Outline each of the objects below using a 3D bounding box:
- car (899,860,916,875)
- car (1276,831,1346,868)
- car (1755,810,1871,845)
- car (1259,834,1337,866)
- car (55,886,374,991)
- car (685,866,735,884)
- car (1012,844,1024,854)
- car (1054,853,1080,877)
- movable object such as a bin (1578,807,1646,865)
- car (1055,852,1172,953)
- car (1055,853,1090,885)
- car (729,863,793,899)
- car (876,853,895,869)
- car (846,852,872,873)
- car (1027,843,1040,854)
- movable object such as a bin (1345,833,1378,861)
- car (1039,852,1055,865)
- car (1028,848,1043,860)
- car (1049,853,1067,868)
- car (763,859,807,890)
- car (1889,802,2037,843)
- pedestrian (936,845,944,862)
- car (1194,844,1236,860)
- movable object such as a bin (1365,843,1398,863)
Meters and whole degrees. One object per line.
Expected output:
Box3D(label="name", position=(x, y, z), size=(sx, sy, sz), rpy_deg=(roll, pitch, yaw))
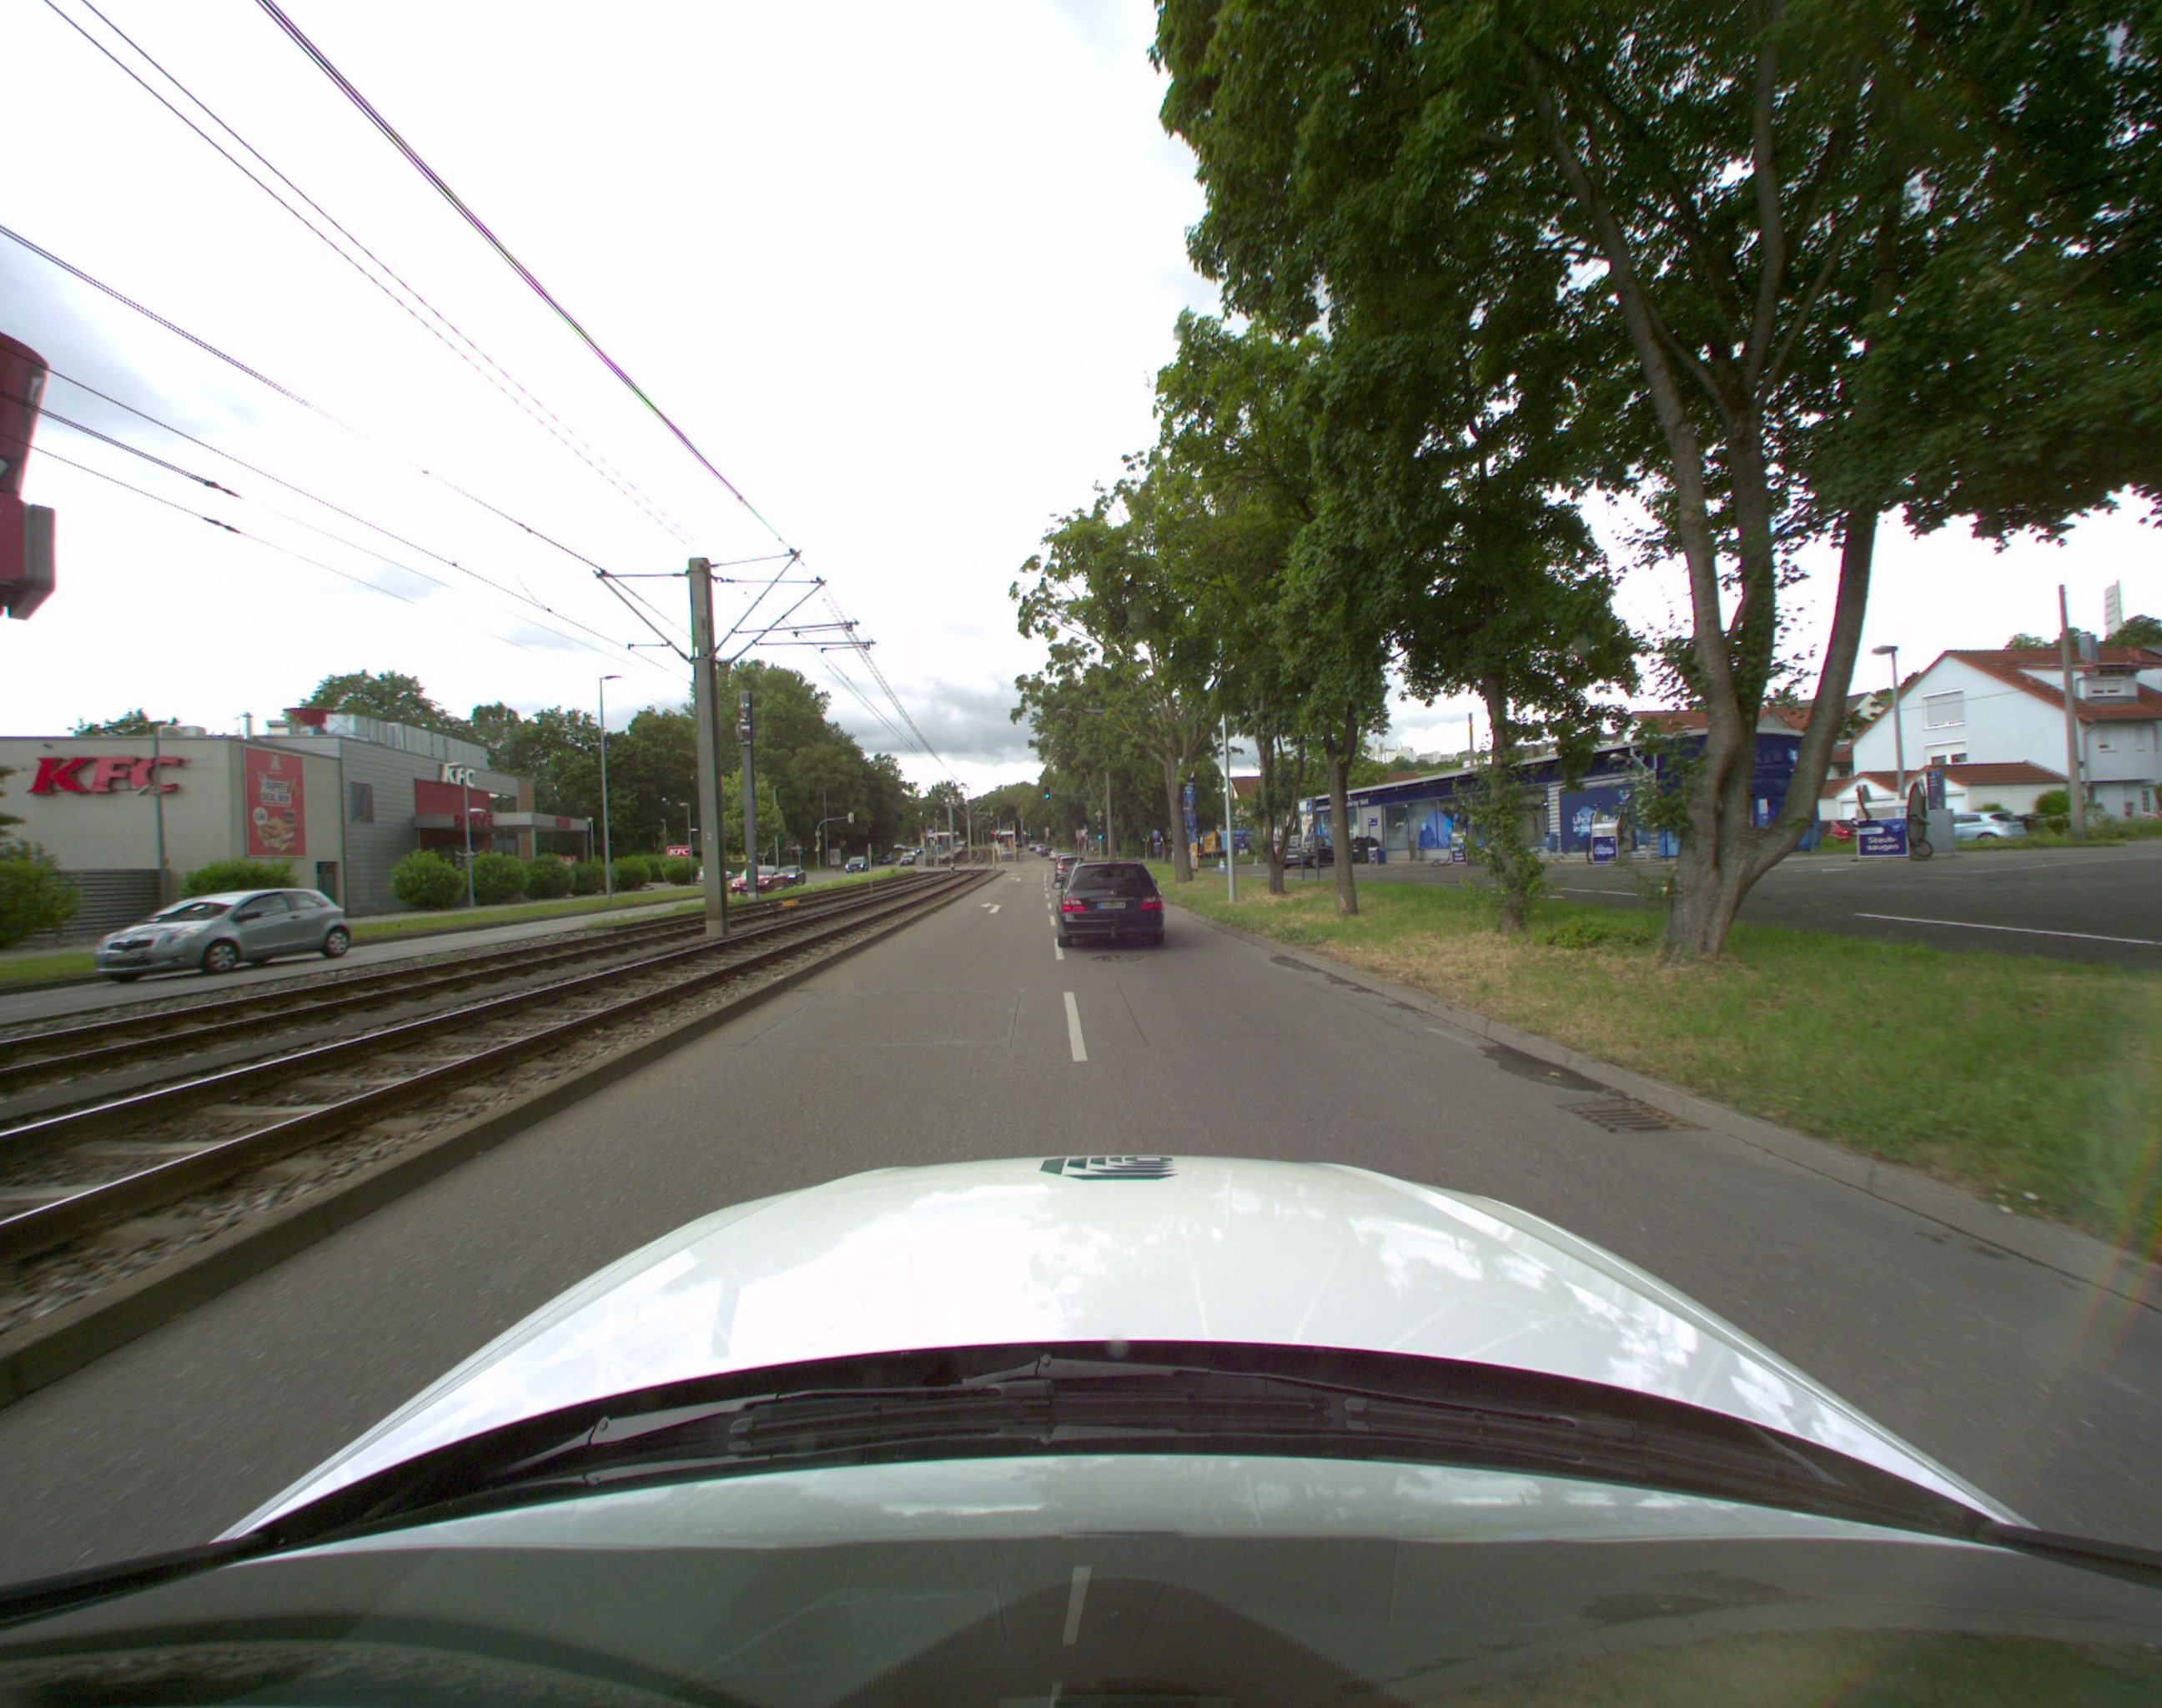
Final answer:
Box3D(label="car", position=(-21.256, 1.627, 99.886), size=(1.695, 1.860, 3.990), rpy_deg=(0, 0, -7))
Box3D(label="car", position=(12.721, -0.290, 44.878), size=(1.729, 1.821, 4.411), rpy_deg=(-3, 0, 44))
Box3D(label="car", position=(36.455, -1.280, 40.681), size=(1.785, 1.575, 3.974), rpy_deg=(0, 0, -19))
Box3D(label="car", position=(13.026, -0.254, 48.972), size=(4.215, 1.697, 1.827), rpy_deg=(-3, 1, -21))
Box3D(label="car", position=(-16.544, 1.511, 15.925), size=(1.990, 1.482, 3.994), rpy_deg=(-5, 0, -4))
Box3D(label="car", position=(-35.093, 1.959, 77.080), size=(3.872, 1.408, 1.844), rpy_deg=(-3, 0, -5))
Box3D(label="car", position=(-13.888, -1.080, 179.710), size=(1.997, 2.014, 3.980), rpy_deg=(0, 0, -15))
Box3D(label="car", position=(-0.957, 0.753, 57.404), size=(1.776, 1.648, 3.999), rpy_deg=(0, 0, -1))
Box3D(label="movable object such as a bin", position=(17.722, -0.577, 27.216), size=(1.157, 1.818, 1.452), rpy_deg=(-3, 0, -7))
Box3D(label="car", position=(0.443, 0.755, 14.703), size=(1.777, 1.525, 3.996), rpy_deg=(-1, 0, -3))
Box3D(label="car", position=(-0.428, 0.771, 43.590), size=(1.776, 1.648, 3.999), rpy_deg=(0, 0, -1))
Box3D(label="car", position=(-16.177, 1.335, 41.442), size=(1.781, 1.582, 4.473), rpy_deg=(-4, 0, -6))
Box3D(label="car", position=(-27.471, 0.990, 114.621), size=(1.992, 2.013, 4.096), rpy_deg=(-3, 0, -7))
Box3D(label="car", position=(-23.081, 0.840, 84.710), size=(1.992, 2.013, 4.236), rpy_deg=(-3, 0, -7))
Box3D(label="car", position=(-9.065, -1.033, 154.674), size=(1.994, 2.014, 3.985), rpy_deg=(0, 0, -11))
Box3D(label="movable object such as a bin", position=(15.460, -0.365, 44.930), size=(1.157, 1.474, 1.384), rpy_deg=(-3, 0, -7))
Box3D(label="car", position=(-5.078, 0.699, 120.926), size=(1.992, 1.966, 3.990), rpy_deg=(0, 0, -7))
Box3D(label="car", position=(-7.687, -0.029, 138.044), size=(1.994, 2.014, 3.985), rpy_deg=(0, 0, -11))
Box3D(label="car", position=(-2.873, 0.820, 101.538), size=(1.992, 1.893, 3.990), rpy_deg=(0, 0, -7))
Box3D(label="car", position=(-20.859, 1.392, 57.546), size=(1.992, 2.013, 3.990), rpy_deg=(-3, 0, -7))
Box3D(label="car", position=(37.929, -1.304, 35.160), size=(1.786, 1.575, 3.974), rpy_deg=(0, 0, -20))
Box3D(label="pedestrian", position=(-18.437, -0.115, 106.438), size=(0.968, 2.186, 0.974), rpy_deg=(-2, 0, -5))
Box3D(label="car", position=(14.125, -0.191, 86.128), size=(4.136, 1.526, 1.705), rpy_deg=(-2, 0, 2))
Box3D(label="movable object such as a bin", position=(15.441, -0.033, 41.872), size=(1.157, 0.976, 1.185), rpy_deg=(-3, 0, -7))
